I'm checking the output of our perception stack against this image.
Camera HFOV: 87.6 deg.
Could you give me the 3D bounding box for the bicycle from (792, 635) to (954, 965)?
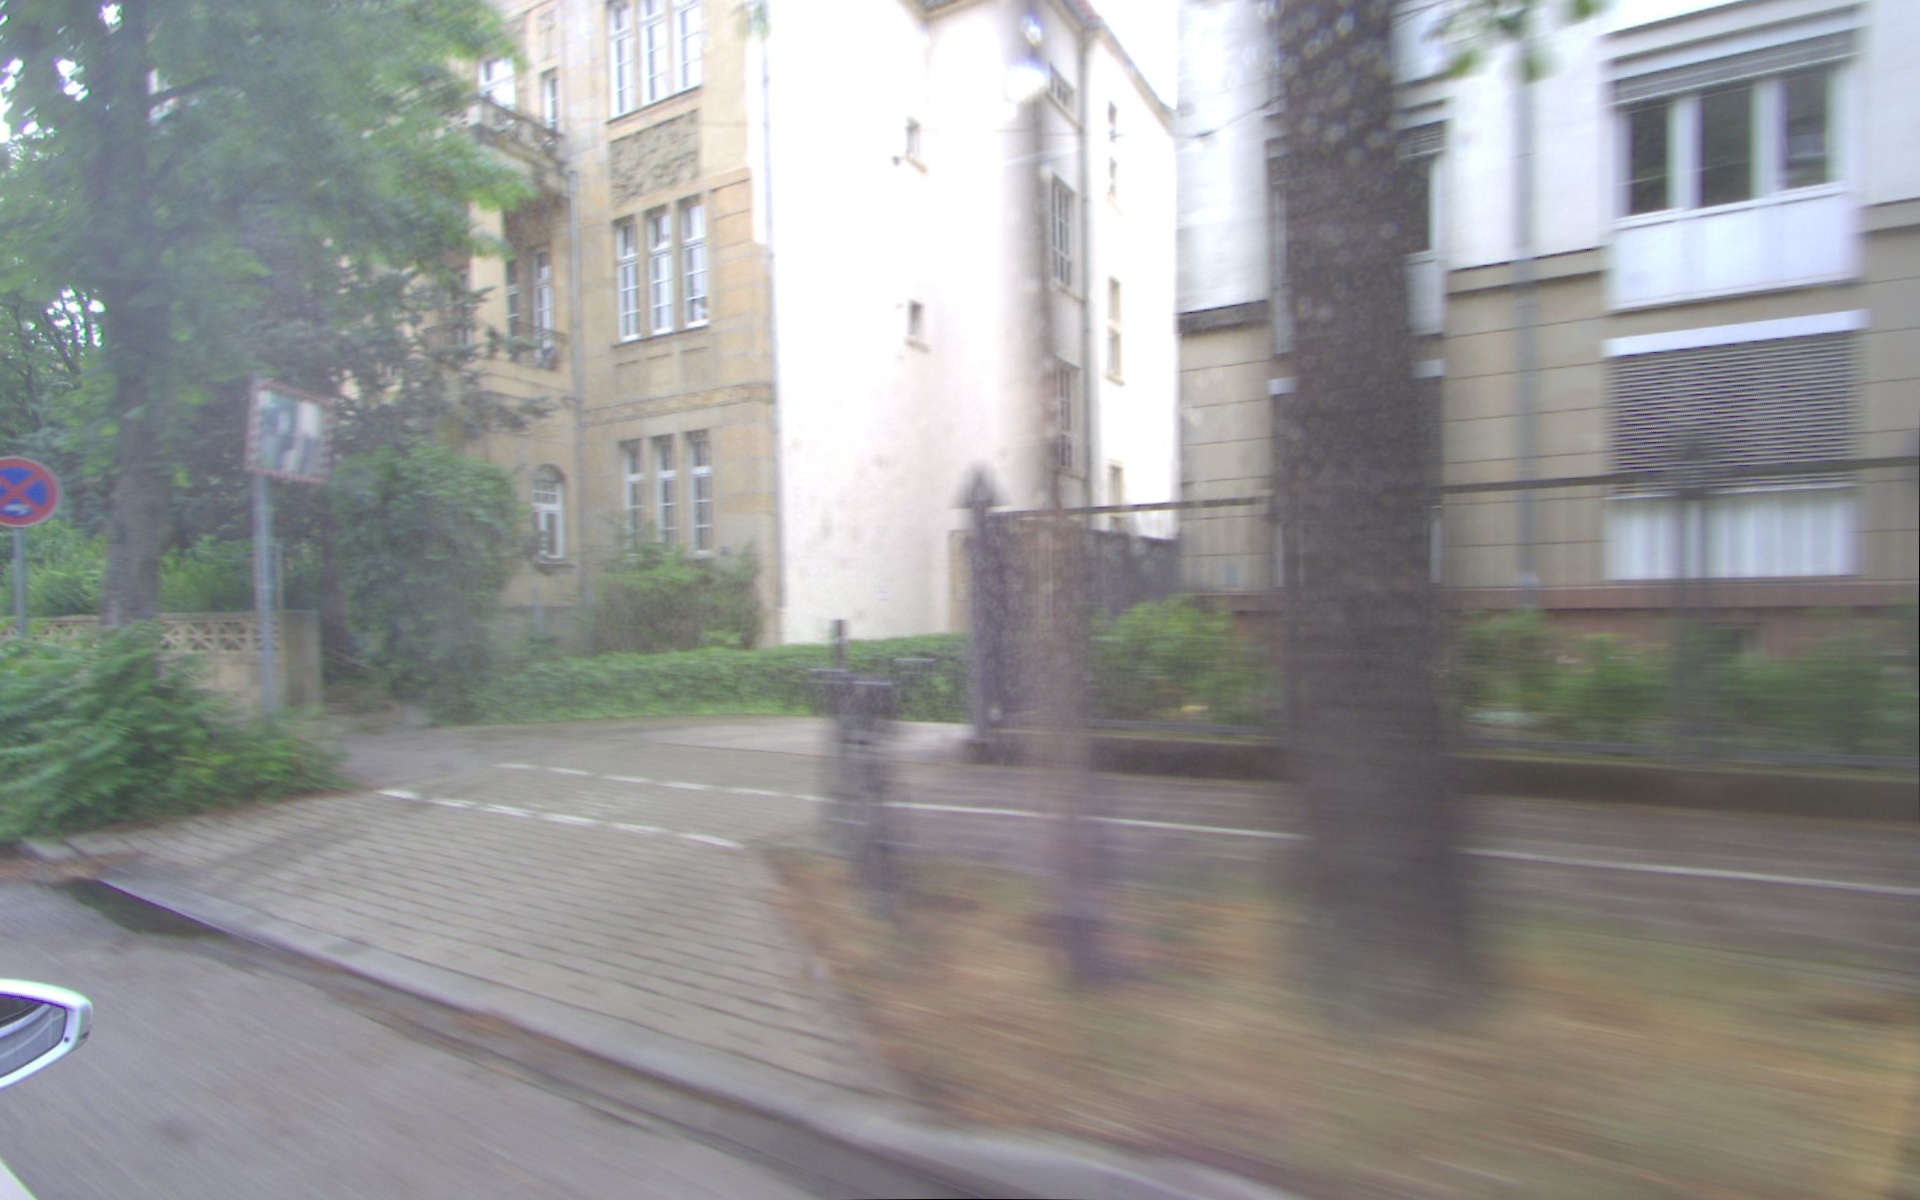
[{"bbox_3d":[-0.483,0.789,4.759,0.425,1.214,1.902,-1,-1,-15],"label":"bicycle"}]
